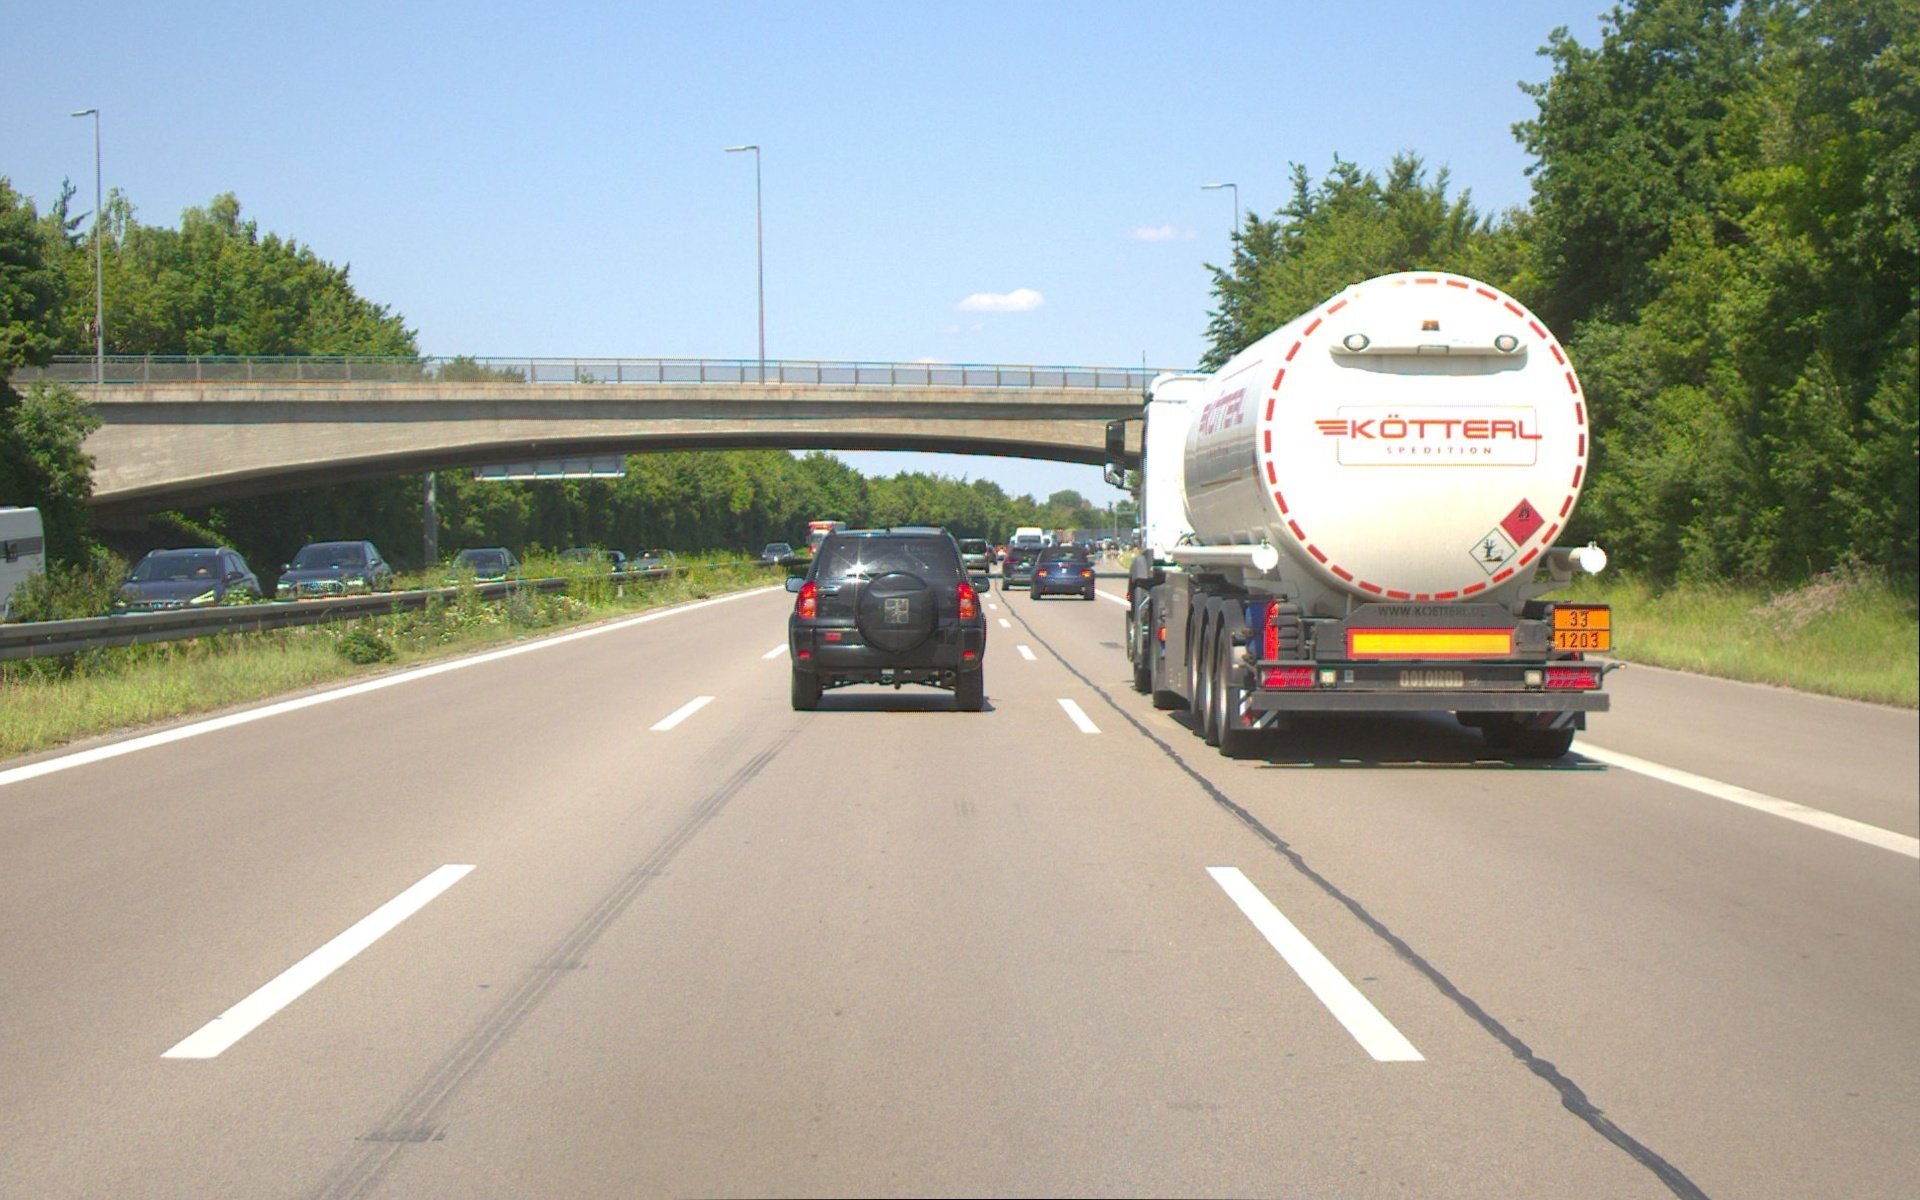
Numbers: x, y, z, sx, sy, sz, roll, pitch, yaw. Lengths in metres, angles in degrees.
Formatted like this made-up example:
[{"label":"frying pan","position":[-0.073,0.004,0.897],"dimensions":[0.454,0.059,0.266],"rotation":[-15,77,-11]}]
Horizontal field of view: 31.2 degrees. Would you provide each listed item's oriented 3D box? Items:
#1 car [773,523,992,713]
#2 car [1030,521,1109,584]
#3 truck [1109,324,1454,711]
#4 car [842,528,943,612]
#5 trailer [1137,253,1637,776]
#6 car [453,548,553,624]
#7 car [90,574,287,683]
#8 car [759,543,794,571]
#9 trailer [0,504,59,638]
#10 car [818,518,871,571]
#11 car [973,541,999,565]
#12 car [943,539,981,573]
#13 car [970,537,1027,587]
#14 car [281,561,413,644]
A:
[{"label":"car","position":[-0.731,0.131,32.226],"dimensions":[1.906,1.659,4.000],"rotation":[-1,1,-1]},{"label":"car","position":[3.035,-1.313,95.697],"dimensions":[1.993,1.678,4.000],"rotation":[0,0,-1]},{"label":"truck","position":[2.957,-0.770,33.347],"dimensions":[2.638,3.363,6.488],"rotation":[1,1,-1]},{"label":"car","position":[-1.466,-0.645,73.094],"dimensions":[1.993,1.700,4.336],"rotation":[-1,1,-3]},{"label":"trailer","position":[3.061,-0.643,27.924],"dimensions":[2.648,3.378,11.152],"rotation":[0,1,0]},{"label":"car","position":[-12.550,-0.399,94.660],"dimensions":[1.994,2.007,4.000],"rotation":[-1,1,3]},{"label":"car","position":[-12.306,0.418,55.196],"dimensions":[1.993,1.599,5.090],"rotation":[0,1,0]},{"label":"car","position":[-11.377,-2.689,213.321],"dimensions":[1.797,1.661,4.128],"rotation":[-1,1,1]},{"label":"trailer","position":[-20.513,-0.573,68.804],"dimensions":[2.731,2.678,8.631],"rotation":[0,1,0]},{"label":"car","position":[-4.555,-2.173,135.309],"dimensions":[1.993,2.007,4.950],"rotation":[-1,1,-2]},{"label":"car","position":[1.925,-3.499,254.814],"dimensions":[1.812,1.740,4.000],"rotation":[-1,1,-1]},{"label":"car","position":[0.088,-2.370,183.269],"dimensions":[1.993,1.744,4.205],"rotation":[-1,1,0]},{"label":"car","position":[1.281,-1.248,115.062],"dimensions":[1.842,1.606,4.000],"rotation":[0,0,1]},{"label":"car","position":[-12.520,0.025,70.452],"dimensions":[1.915,1.596,4.435],"rotation":[-1,1,-1]}]
